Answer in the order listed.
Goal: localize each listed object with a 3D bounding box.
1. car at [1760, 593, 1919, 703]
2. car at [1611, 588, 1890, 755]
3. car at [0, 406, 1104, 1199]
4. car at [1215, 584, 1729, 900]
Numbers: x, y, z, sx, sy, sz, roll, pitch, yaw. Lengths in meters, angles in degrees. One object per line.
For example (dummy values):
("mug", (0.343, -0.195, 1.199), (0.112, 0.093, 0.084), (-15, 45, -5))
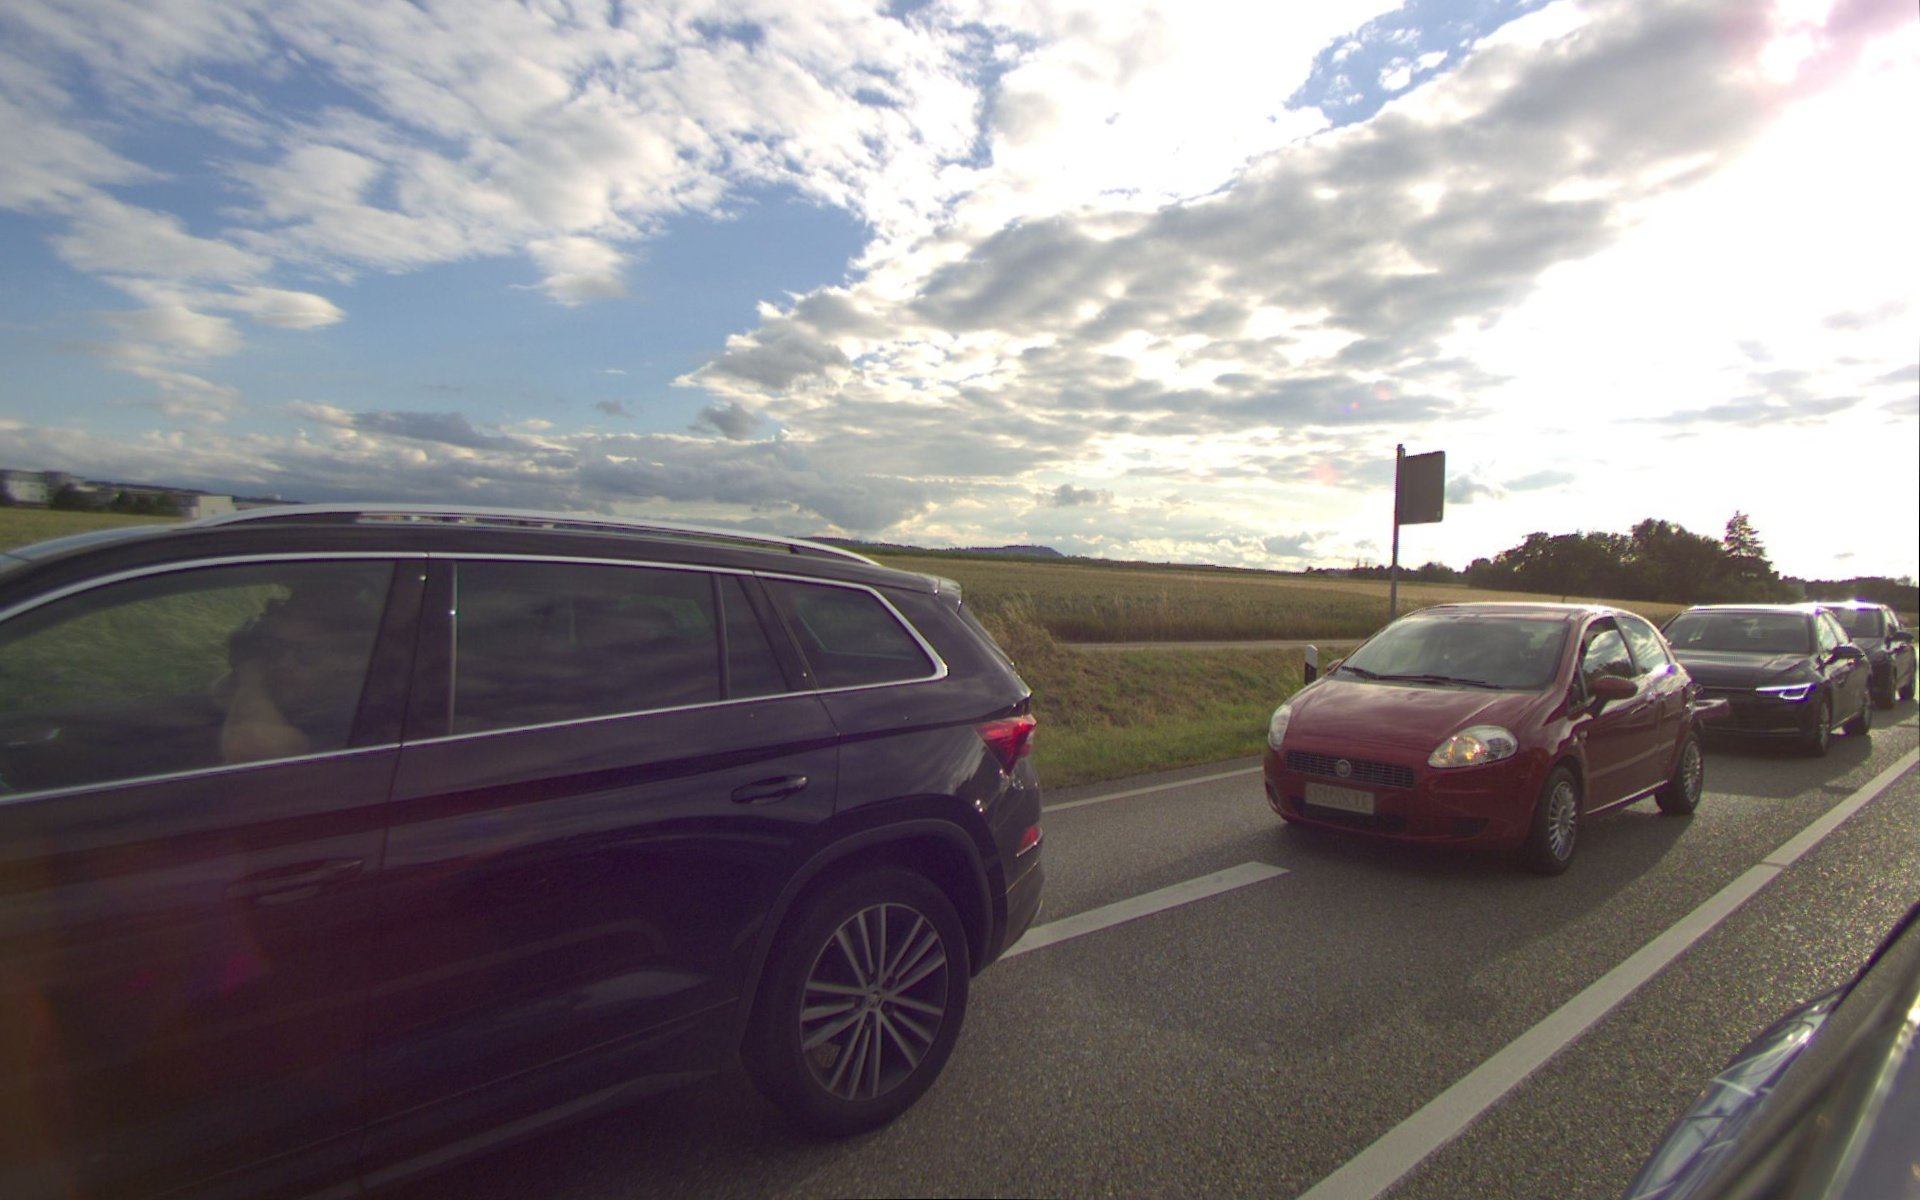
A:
("car", (13.662, 0.653, 15.489), (3.414, 1.494, 1.629), (0, 0, -41))
("car", (8.659, 0.642, 10.984), (3.798, 1.494, 1.722), (0, 0, -41))
("car", (-1.718, 0.540, 2.517), (4.342, 1.689, 1.722), (0, 0, -41))
("car", (3.517, 0.674, 6.665), (3.796, 1.494, 1.668), (0, 0, -40))
